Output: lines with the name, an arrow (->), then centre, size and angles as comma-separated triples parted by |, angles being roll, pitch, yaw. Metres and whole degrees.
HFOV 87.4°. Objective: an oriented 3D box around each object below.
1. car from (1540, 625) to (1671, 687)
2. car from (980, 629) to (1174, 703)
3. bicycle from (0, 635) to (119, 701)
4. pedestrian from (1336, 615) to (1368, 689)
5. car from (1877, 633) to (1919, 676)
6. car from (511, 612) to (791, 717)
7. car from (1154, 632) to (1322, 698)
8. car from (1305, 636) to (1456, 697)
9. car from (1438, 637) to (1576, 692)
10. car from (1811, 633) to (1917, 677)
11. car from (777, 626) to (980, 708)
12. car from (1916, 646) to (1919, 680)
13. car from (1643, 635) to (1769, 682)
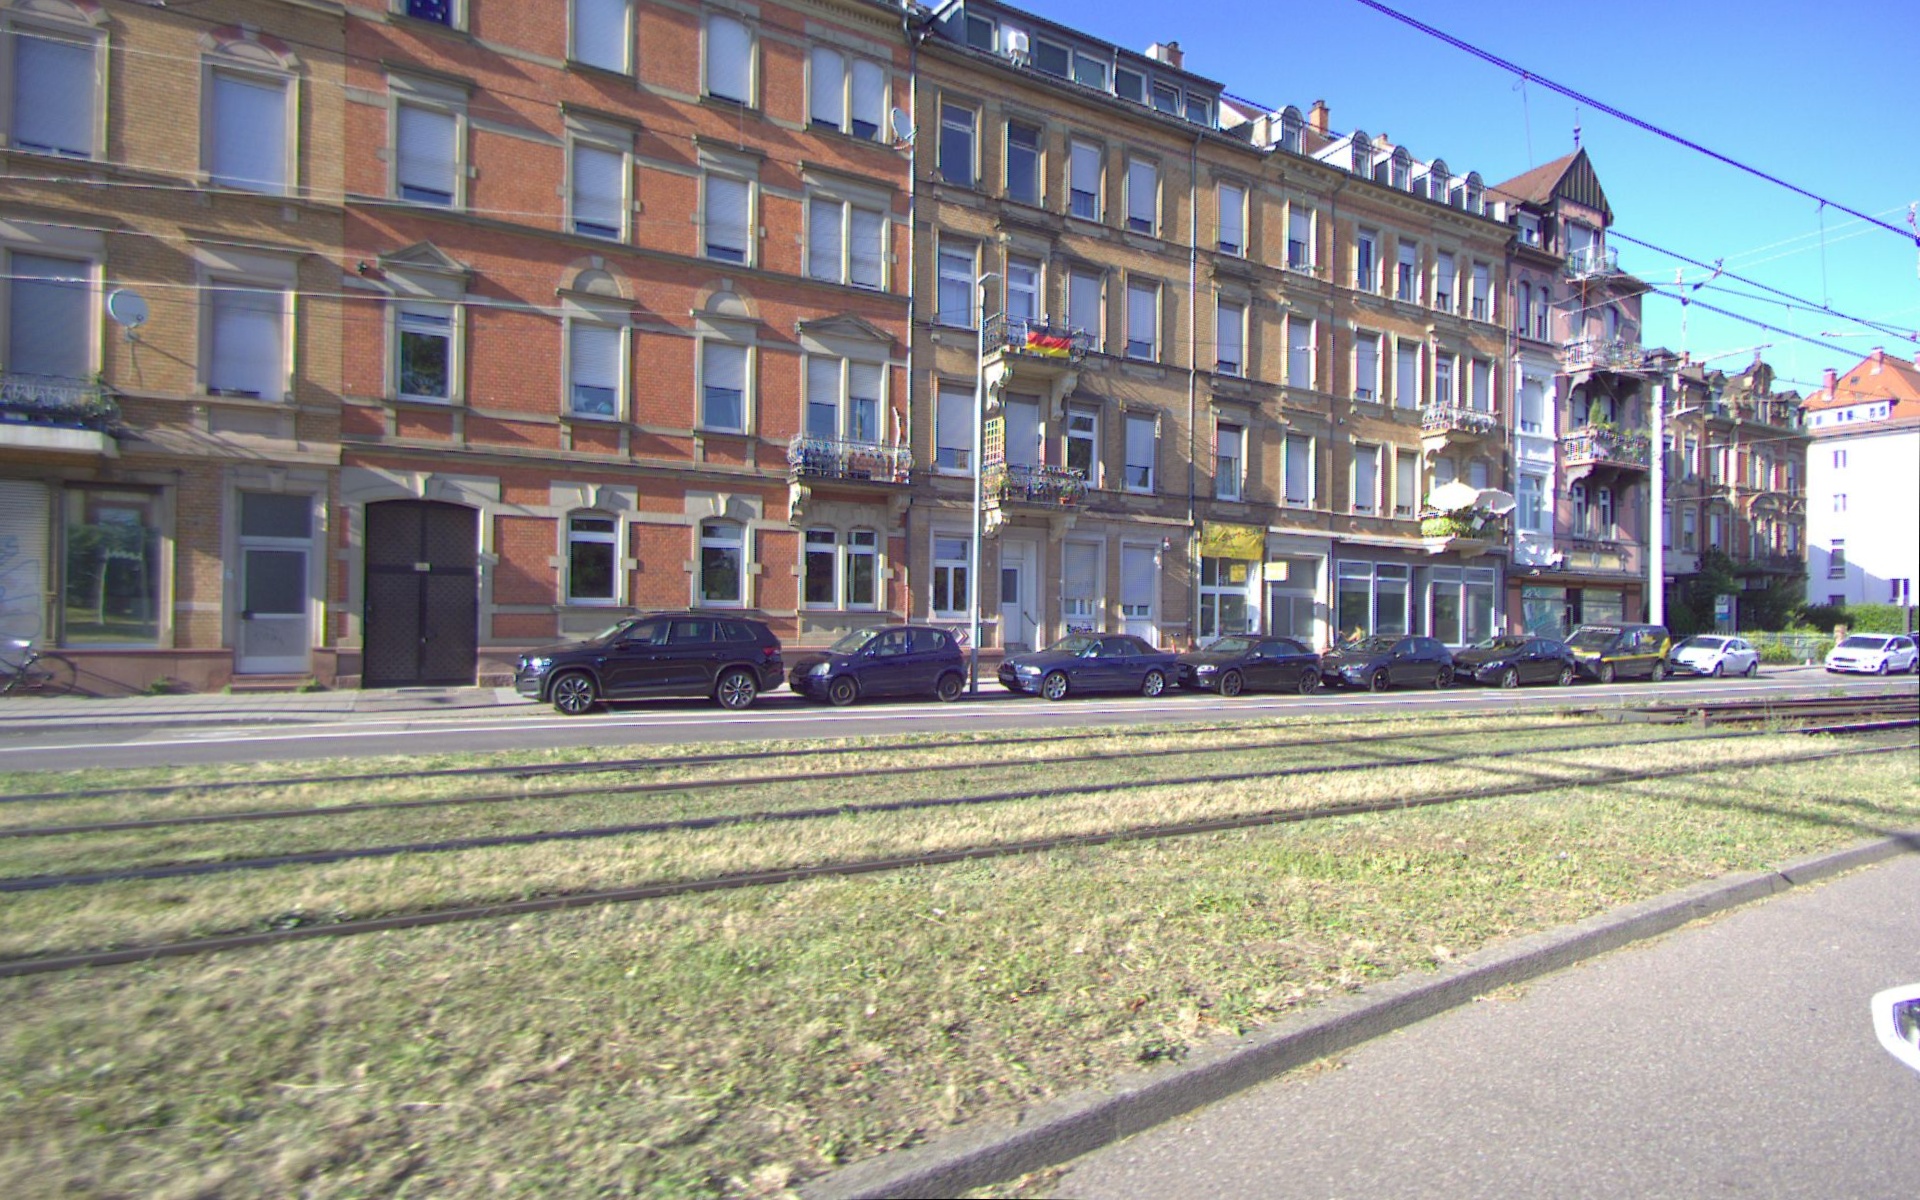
car -> 20.879, 1.780, 32.429 | 4.674, 1.831, 1.651 | 2, 0, -31
car -> 2.654, 1.439, 22.541 | 4.145, 1.465, 1.652 | 2, 0, -29
bicycle -> -15.046, 1.107, 16.346 | 1.988, 1.017, 0.587 | 2, 0, -31
pedestrian -> 11.201, 1.479, 28.685 | 0.625, 2.040, 0.875 | 2, 0, 32
car -> 42.805, 2.412, 44.525 | 4.445, 1.804, 1.911 | 1, 0, -30
car -> -5.520, 1.105, 18.031 | 4.570, 1.665, 1.788 | 2, 0, -26
car -> 6.872, 1.561, 24.752 | 3.932, 1.465, 1.652 | 2, 0, -29
car -> 11.380, 1.757, 27.154 | 3.932, 1.465, 1.652 | 2, 0, -29
car -> 16.011, 1.857, 29.374 | 3.932, 1.465, 1.652 | 2, 0, -29
car -> 37.980, 2.268, 42.186 | 4.570, 1.706, 1.912 | 1, 0, -29
car -> -1.627, 1.304, 20.221 | 3.719, 1.465, 1.652 | 2, 0, -29
car -> 47.107, 2.985, 47.007 | 4.779, 1.581, 1.914 | 1, 0, -27
car -> 27.022, 2.093, 36.346 | 4.570, 1.559, 1.913 | 2, -1, -28
